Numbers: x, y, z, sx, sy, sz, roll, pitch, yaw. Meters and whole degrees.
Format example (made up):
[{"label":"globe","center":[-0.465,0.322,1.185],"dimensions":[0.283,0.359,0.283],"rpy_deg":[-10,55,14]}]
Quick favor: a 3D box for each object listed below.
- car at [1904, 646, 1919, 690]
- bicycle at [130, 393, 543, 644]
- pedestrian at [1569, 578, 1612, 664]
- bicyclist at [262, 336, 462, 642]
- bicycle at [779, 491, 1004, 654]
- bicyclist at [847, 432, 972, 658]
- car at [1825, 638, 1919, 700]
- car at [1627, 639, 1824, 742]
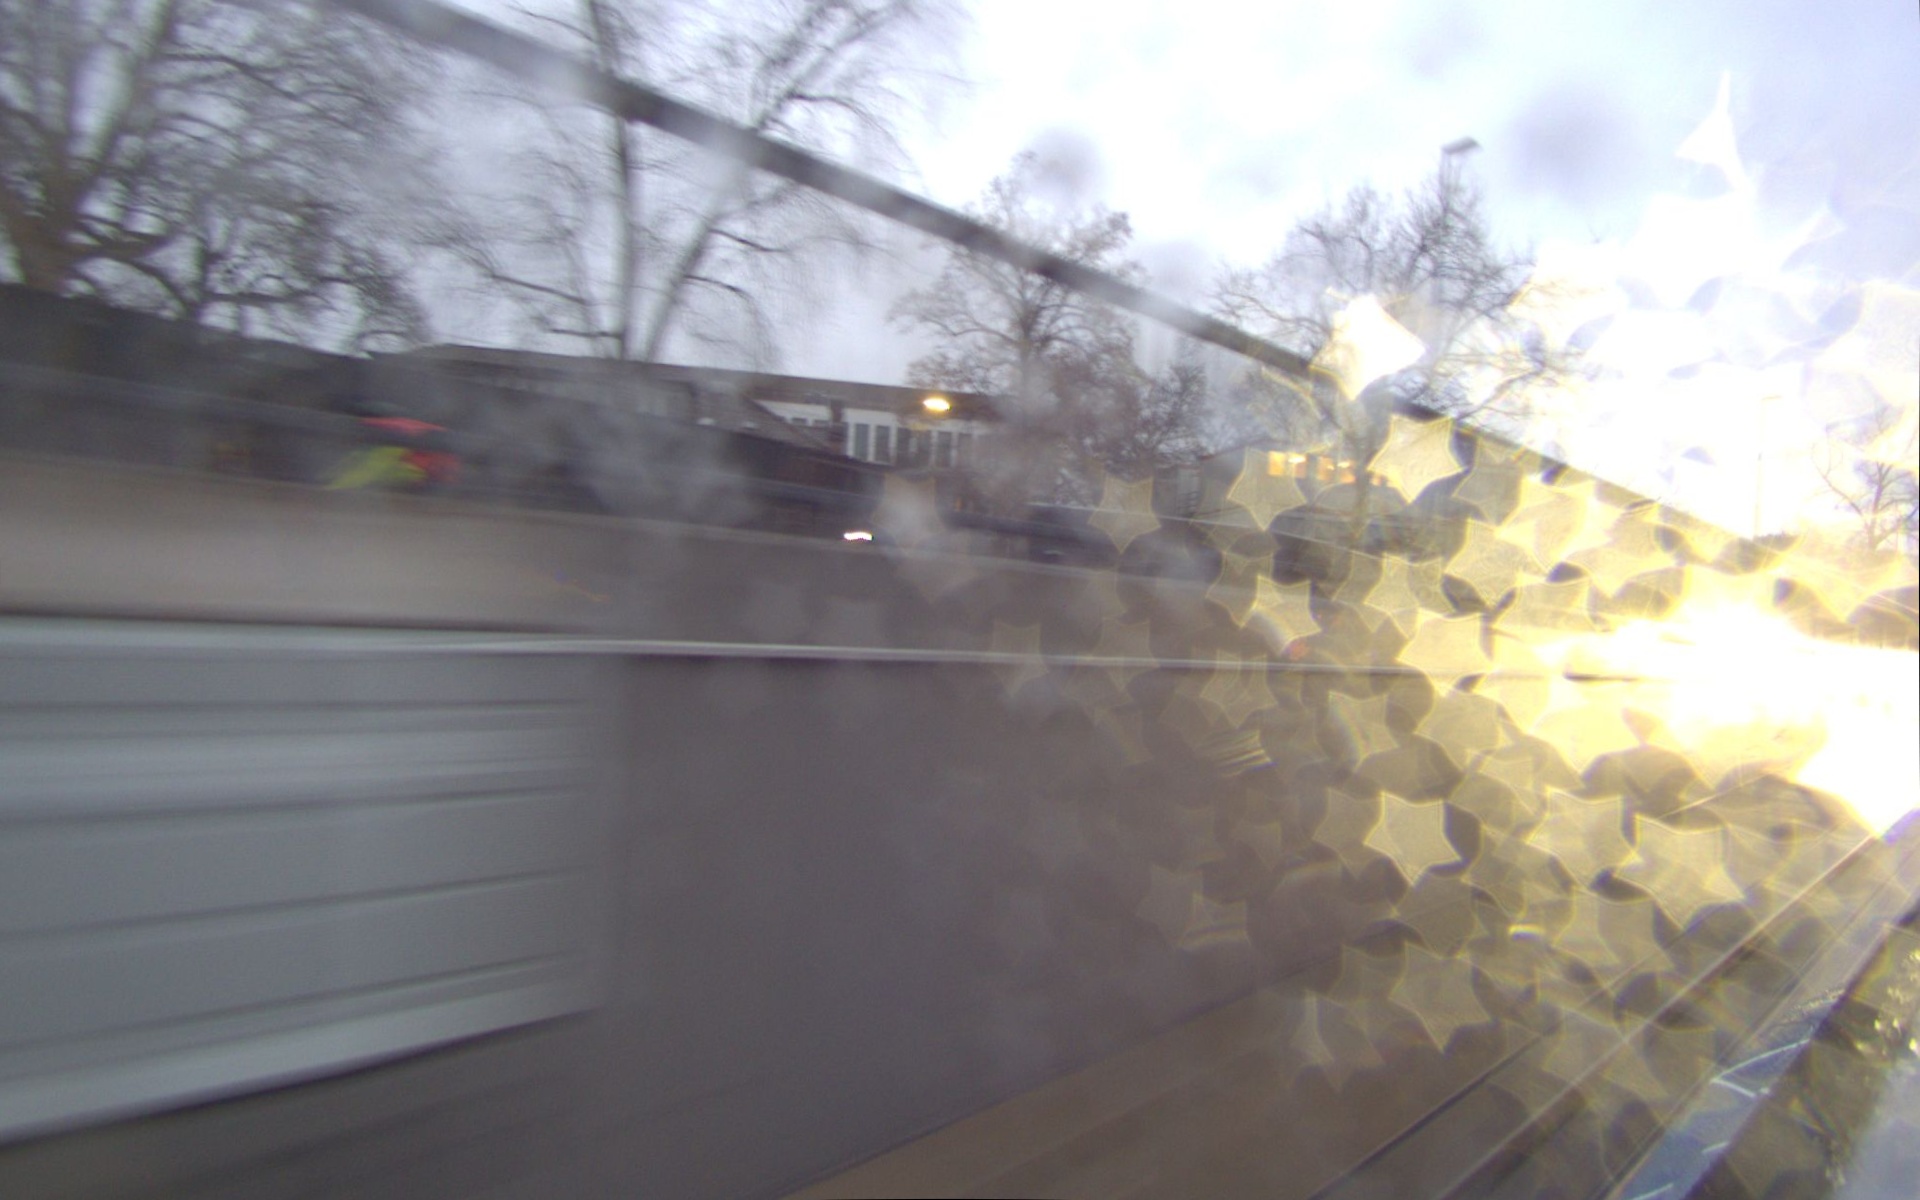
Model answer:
[{"label":"car","center":[34.788,2.436,35.544],"dimensions":[3.966,1.480,1.778],"rpy_deg":[3,-1,-38]},{"label":"bicycle","center":[-3.488,-0.384,5.823],"dimensions":[1.914,1.200,0.412],"rpy_deg":[5,-2,-42]},{"label":"pedestrian","center":[14.431,0.492,23.154],"dimensions":[0.885,1.904,0.532],"rpy_deg":[5,-2,-41]},{"label":"bicyclist","center":[-3.445,-0.590,5.850],"dimensions":[0.822,1.612,0.501],"rpy_deg":[5,-2,-41]},{"label":"bicycle","center":[-0.519,-0.181,8.532],"dimensions":[1.993,1.200,0.412],"rpy_deg":[5,-2,-42]},{"label":"bicyclist","center":[-0.422,-0.433,8.519],"dimensions":[0.822,1.789,0.501],"rpy_deg":[5,-2,-41]},{"label":"car","center":[26.250,1.917,28.704],"dimensions":[4.877,1.520,1.791],"rpy_deg":[3,-1,-40]},{"label":"car","center":[12.897,1.452,16.989],"dimensions":[3.927,1.498,1.726],"rpy_deg":[3,-3,-39]}]
